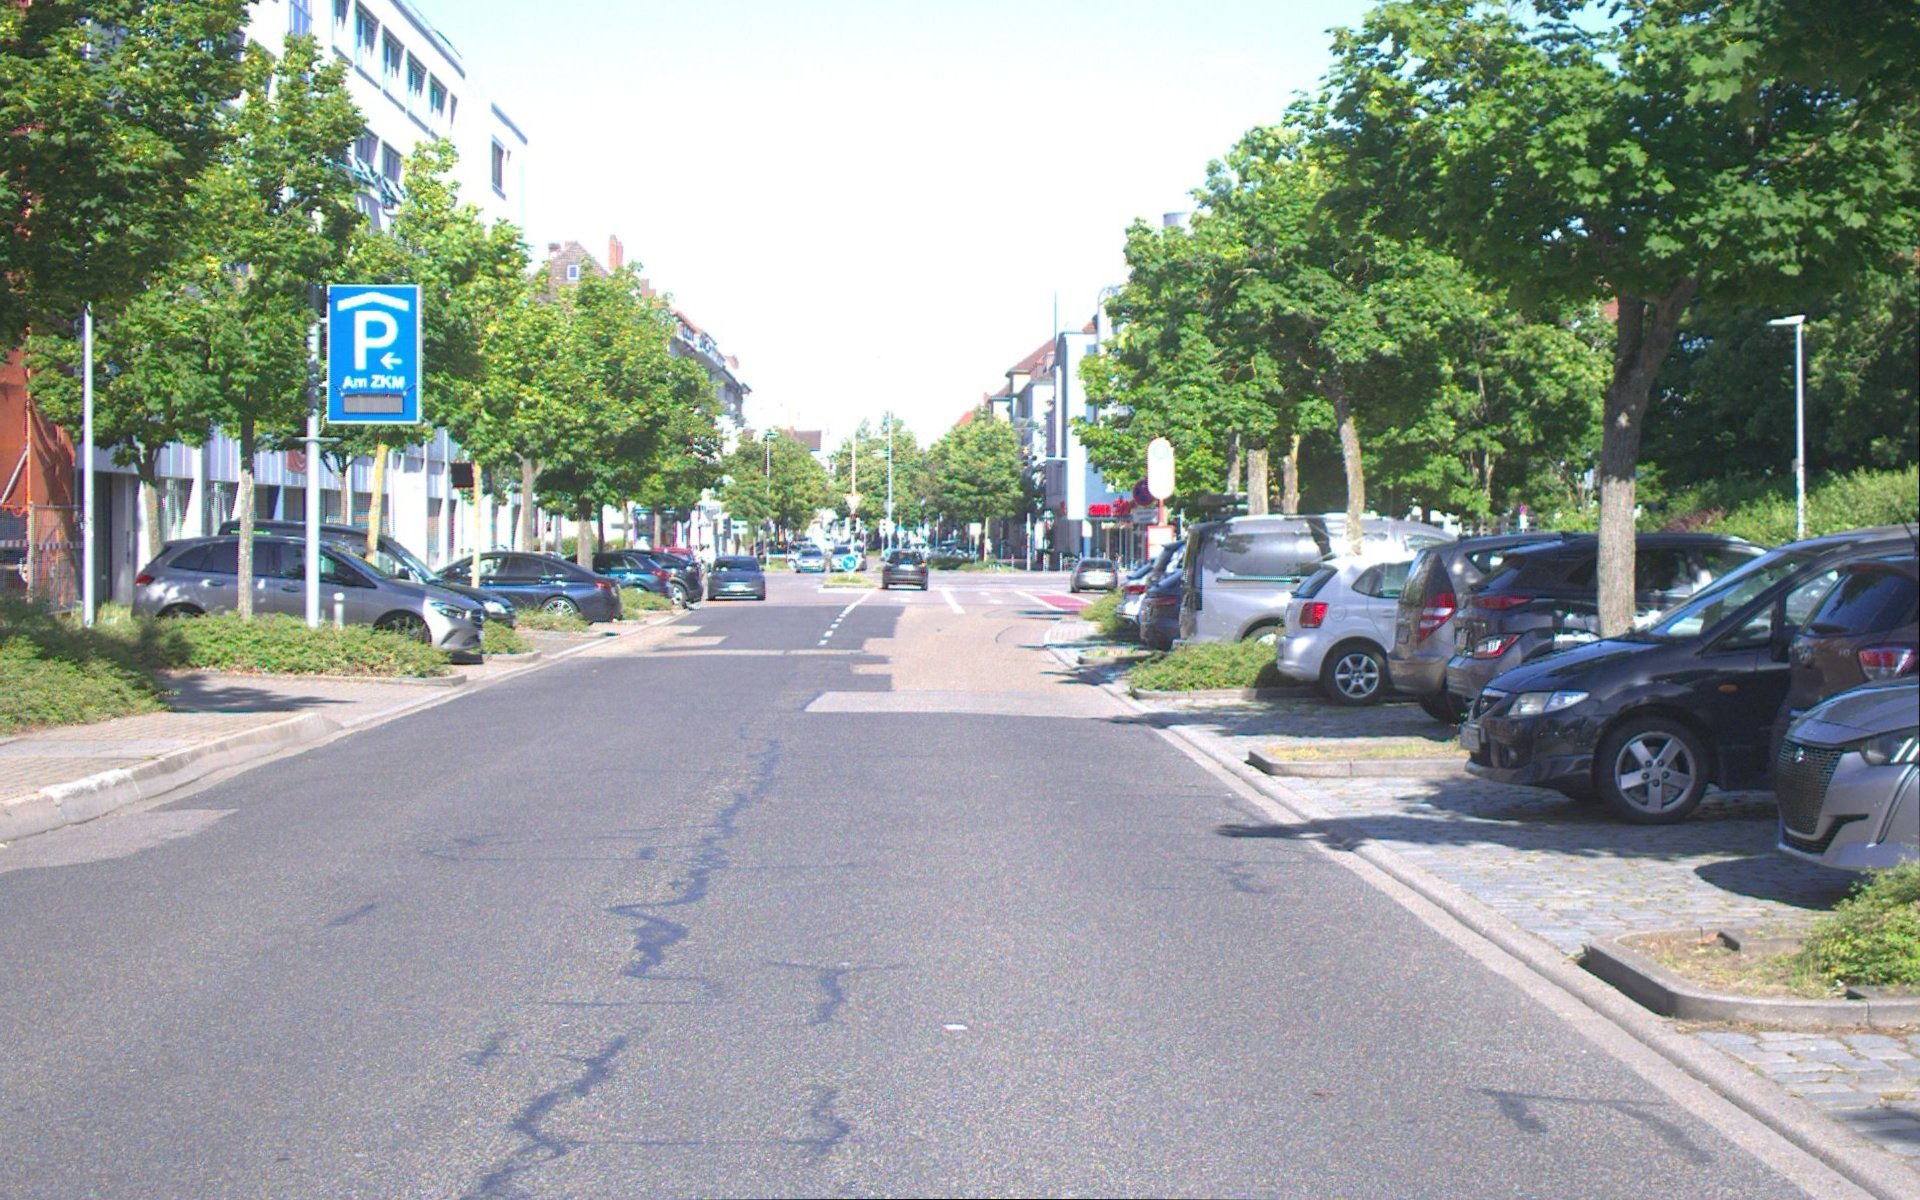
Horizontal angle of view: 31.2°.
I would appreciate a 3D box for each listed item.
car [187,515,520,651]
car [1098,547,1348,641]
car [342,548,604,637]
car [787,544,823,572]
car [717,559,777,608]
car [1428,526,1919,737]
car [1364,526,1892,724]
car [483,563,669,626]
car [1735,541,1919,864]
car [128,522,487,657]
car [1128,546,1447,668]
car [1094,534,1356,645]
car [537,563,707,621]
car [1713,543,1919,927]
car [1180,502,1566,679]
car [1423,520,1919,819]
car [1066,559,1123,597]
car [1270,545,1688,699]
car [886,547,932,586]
[{"bbox_3d":[-8.464,-0.259,48.205,4.331,1.855,1.818,0,2,1],"label":"car"},{"bbox_3d":[4.187,-0.092,54.909,3.913,1.469,1.757,0,-1,3],"label":"car"},{"bbox_3d":[-8.293,-0.134,58.847,4.330,1.469,1.818,0,2,-4],"label":"car"},{"bbox_3d":[-9.340,-2.534,207.378,1.871,1.636,3.926,0,2,2],"label":"car"},{"bbox_3d":[-6.833,-0.538,110.737,1.811,1.469,4.111,0,2,-2],"label":"car"},{"bbox_3d":[5.663,0.227,25.986,3.987,1.533,1.861,0,0,0],"label":"car"},{"bbox_3d":[5.469,0.193,28.554,3.987,1.576,2.031,0,0,0],"label":"car"},{"bbox_3d":[-9.288,-0.143,83.406,4.331,1.469,1.818,0,2,-1],"label":"car"},{"bbox_3d":[5.953,0.466,16.923,3.861,1.499,1.652,0,1,-3],"label":"car"},{"bbox_3d":[-8.214,-0.147,43.544,4.261,1.660,1.599,0,2,-1],"label":"car"},{"bbox_3d":[4.077,0.071,43.201,3.913,1.469,1.795,0,2,3],"label":"car"},{"bbox_3d":[4.029,-0.173,52.606,3.913,1.636,1.877,0,2,3],"label":"car"},{"bbox_3d":[-8.856,-0.213,90.319,4.331,1.469,1.818,0,2,-1],"label":"car"},{"bbox_3d":[5.277,0.513,14.253,3.900,1.481,1.743,0,1,-1],"label":"car"},{"bbox_3d":[4.446,-0.123,37.425,3.987,1.873,1.683,0,2,0],"label":"car"},{"bbox_3d":[4.806,0.345,19.259,4.144,1.574,1.741,-1,1,-2],"label":"car"},{"bbox_3d":[5.521,-0.912,141.749,1.989,1.469,4.111,0,2,-3],"label":"car"},{"bbox_3d":[4.992,0.201,33.408,3.765,1.454,1.818,0,0,-1],"label":"car"},{"bbox_3d":[-2.029,-1.361,137.585,1.812,1.469,4.111,0,2,0],"label":"car"}]
